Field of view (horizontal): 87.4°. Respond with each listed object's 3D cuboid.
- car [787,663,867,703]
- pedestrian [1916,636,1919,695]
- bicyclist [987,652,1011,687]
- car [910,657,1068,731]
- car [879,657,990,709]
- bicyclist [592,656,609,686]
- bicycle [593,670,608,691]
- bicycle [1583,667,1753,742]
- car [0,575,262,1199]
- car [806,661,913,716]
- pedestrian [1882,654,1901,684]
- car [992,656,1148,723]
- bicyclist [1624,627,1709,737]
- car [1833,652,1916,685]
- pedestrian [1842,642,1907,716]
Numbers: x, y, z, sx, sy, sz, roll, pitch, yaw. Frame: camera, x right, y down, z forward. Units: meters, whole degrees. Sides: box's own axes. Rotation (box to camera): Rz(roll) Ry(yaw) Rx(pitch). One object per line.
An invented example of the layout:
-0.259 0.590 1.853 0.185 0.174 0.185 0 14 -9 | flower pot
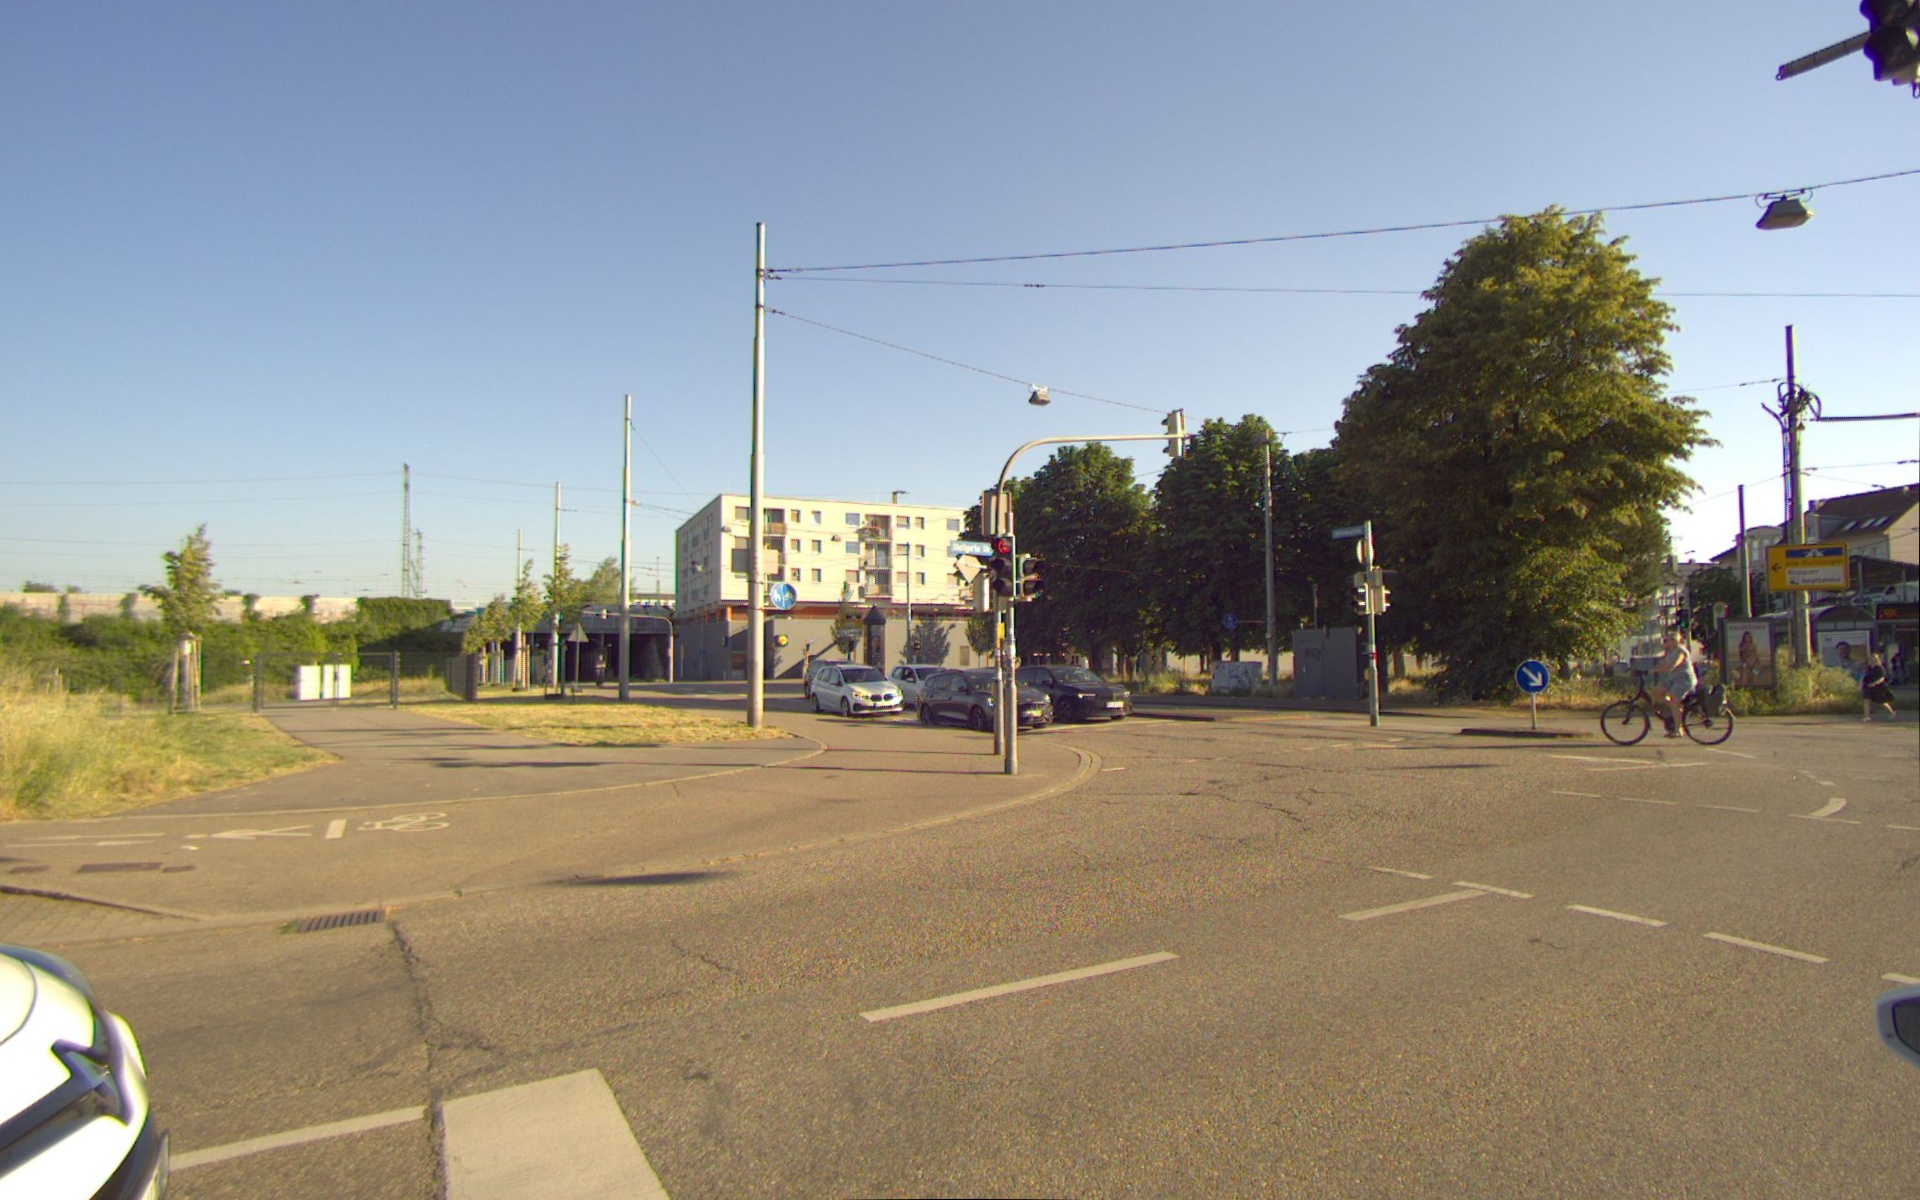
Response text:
-5.704 3.482 42.597 1.975 1.587 4.426 1 -4 -27 | car
23.415 1.829 23.732 1.056 1.950 0.906 2 -4 -34 | pedestrian
1.881 3.321 48.423 0.706 1.650 1.032 1 -3 -33 | bicyclist
0.587 2.189 24.152 1.975 1.587 4.246 1 -4 -27 | car
-0.939 2.727 33.649 1.975 1.587 4.426 1 -4 -27 | car
-19.835 3.900 55.394 0.865 1.646 0.968 1 -3 -22 | bicyclist
-19.818 4.442 55.326 0.743 1.107 1.940 1 -4 -21 | bicycle
10.754 1.576 15.343 1.980 1.083 0.664 -2 -3 21 | bicycle
-3.060 0.718 1.003 3.733 1.488 1.692 2 -4 -32 | car
-3.248 2.735 31.702 1.975 1.587 4.246 1 -4 -27 | car
47.979 3.544 51.747 0.558 1.520 0.677 -2 -4 32 | pedestrian
2.772 2.280 26.403 2.027 1.587 4.423 1 -4 -26 | car
10.786 1.239 15.358 0.841 1.626 0.777 -2 -3 21 | bicyclist
59.353 4.428 65.340 2.017 1.987 5.153 -4 -4 19 | car
22.585 1.937 24.807 1.056 1.769 0.906 2 -4 -34 | pedestrian
